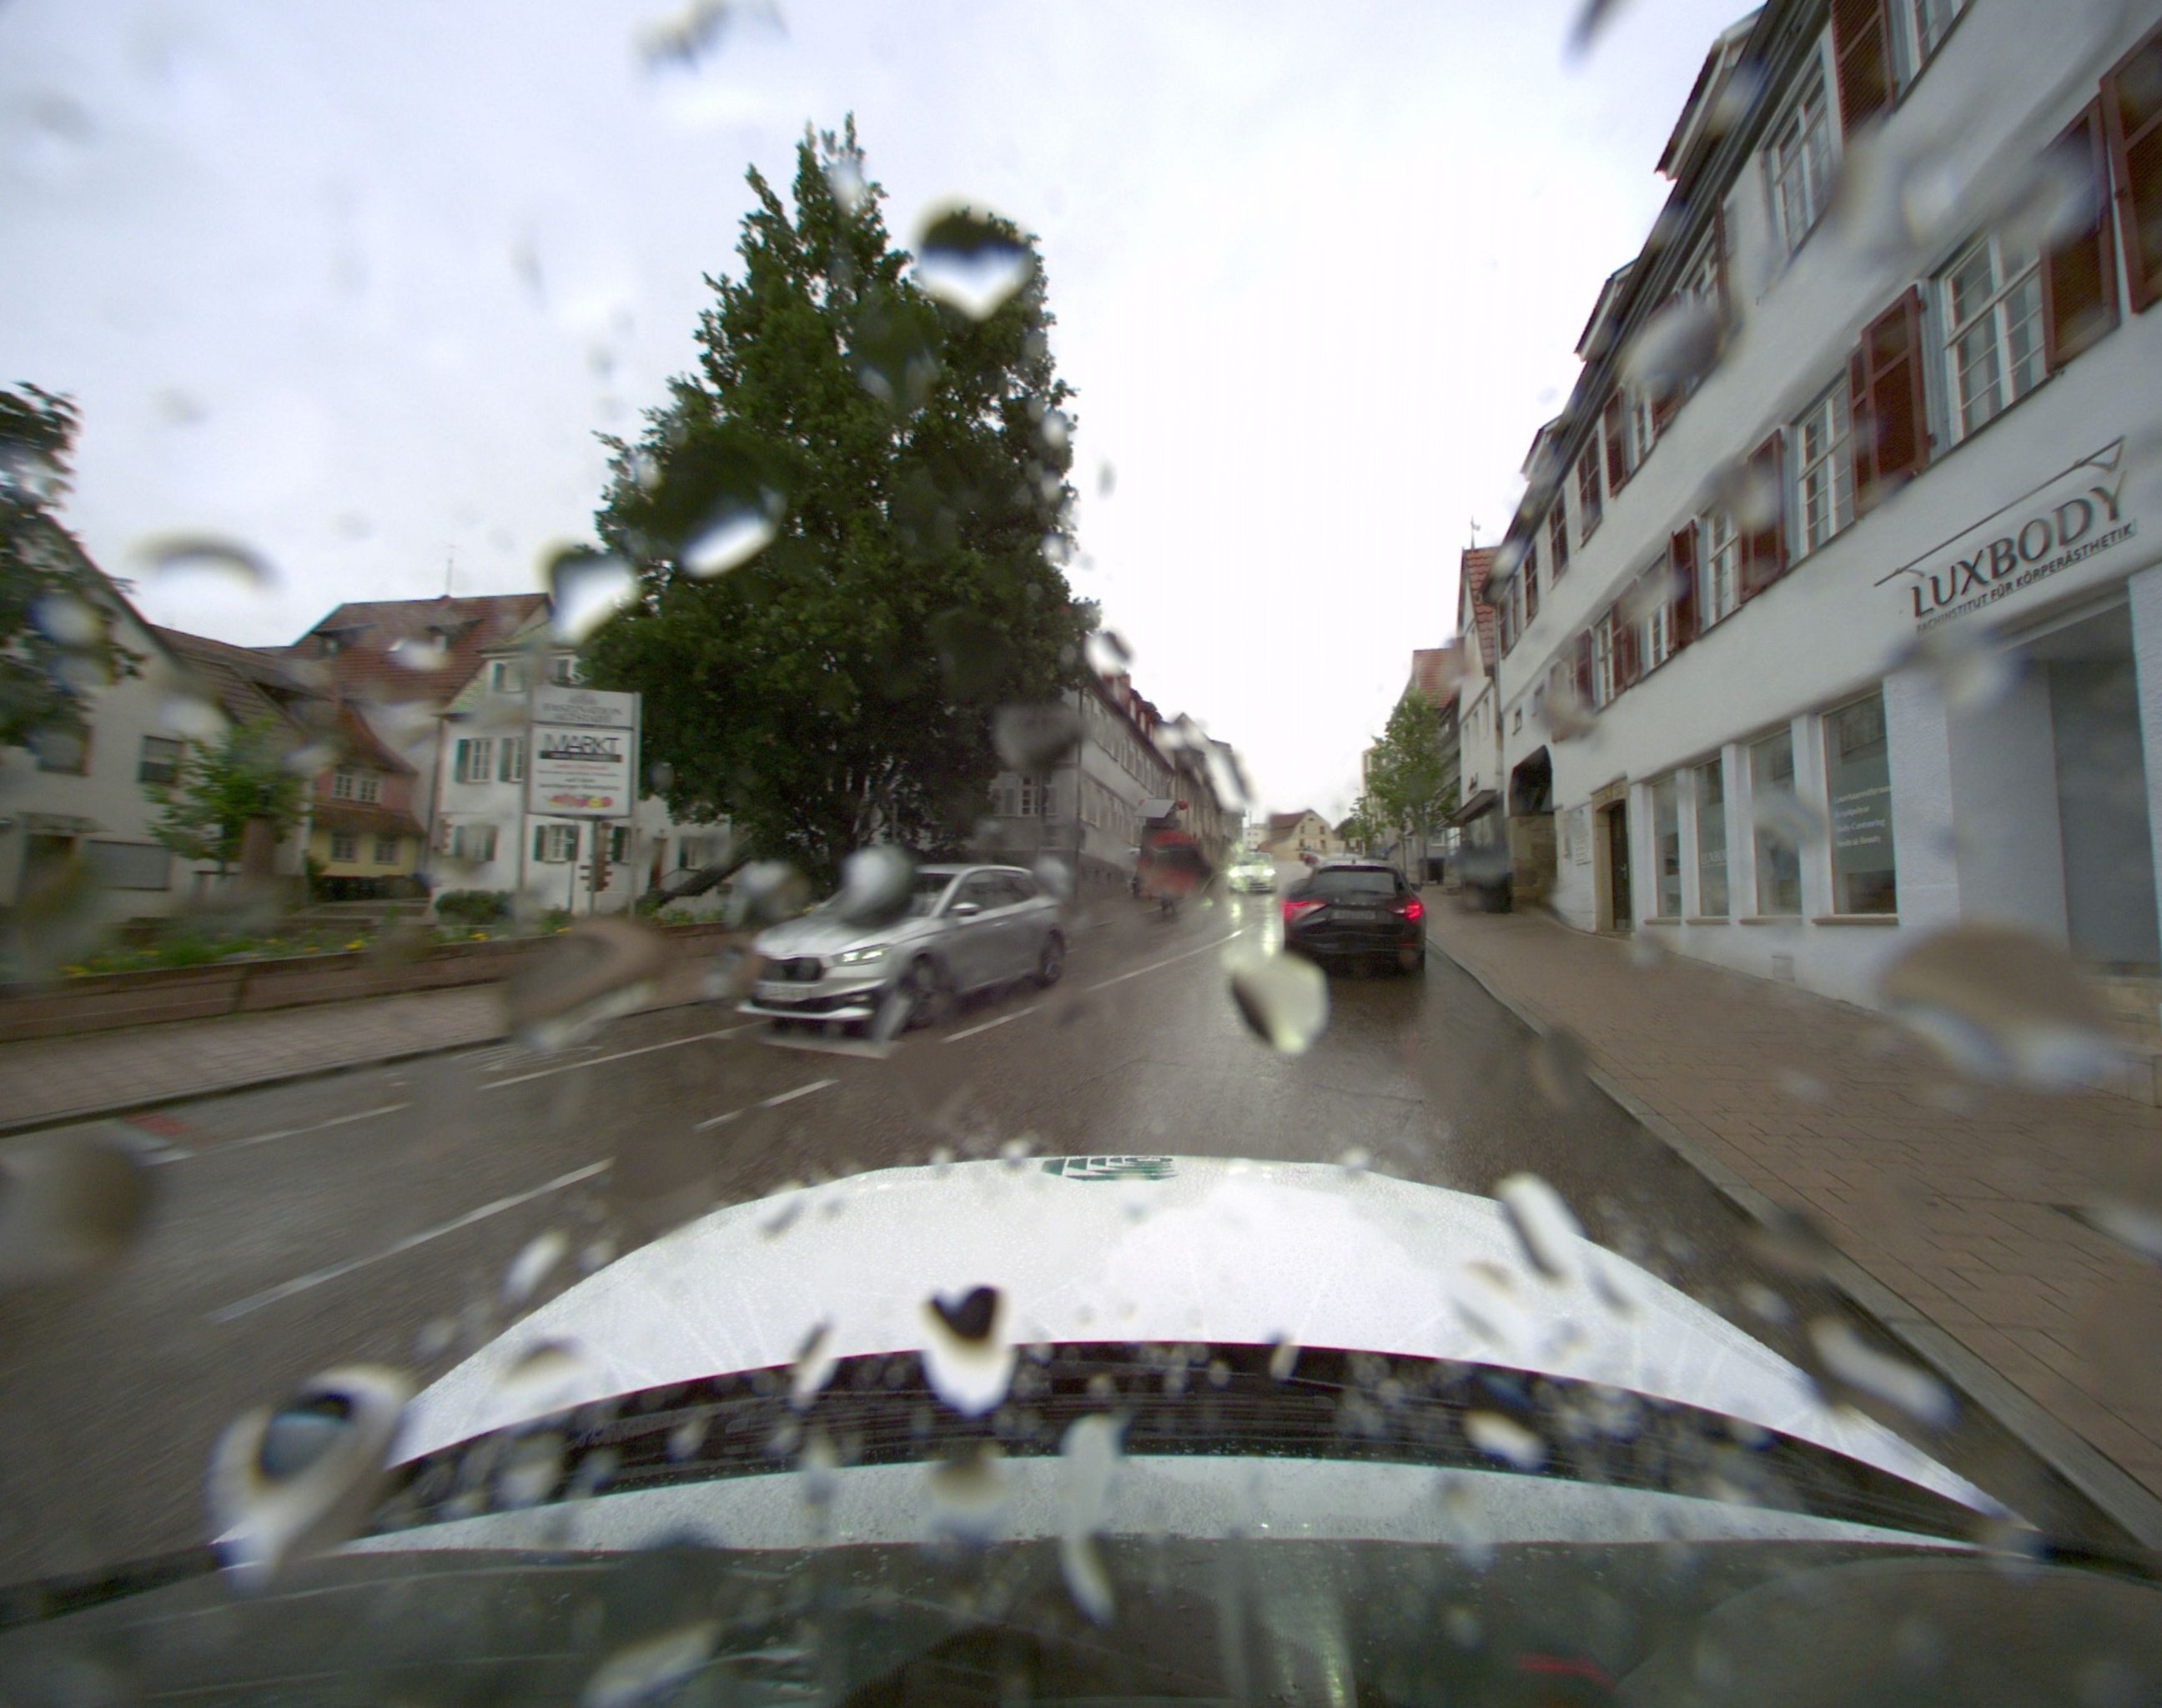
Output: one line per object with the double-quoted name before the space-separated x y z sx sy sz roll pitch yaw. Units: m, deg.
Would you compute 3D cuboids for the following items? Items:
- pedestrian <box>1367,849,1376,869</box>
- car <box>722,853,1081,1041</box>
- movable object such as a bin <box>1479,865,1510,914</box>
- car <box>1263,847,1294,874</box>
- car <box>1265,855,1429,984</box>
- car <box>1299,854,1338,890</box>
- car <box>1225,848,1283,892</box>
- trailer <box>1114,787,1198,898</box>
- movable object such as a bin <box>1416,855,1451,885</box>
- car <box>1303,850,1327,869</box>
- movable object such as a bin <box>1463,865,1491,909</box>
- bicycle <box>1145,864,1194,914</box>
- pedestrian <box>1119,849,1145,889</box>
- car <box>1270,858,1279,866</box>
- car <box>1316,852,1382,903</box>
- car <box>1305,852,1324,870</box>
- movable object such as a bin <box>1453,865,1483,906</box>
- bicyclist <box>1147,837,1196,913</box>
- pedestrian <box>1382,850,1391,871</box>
"pedestrian" 24.494 0.425 68.740 0.699 1.725 0.836 1 0 18
"car" -1.554 0.742 8.510 1.647 1.427 3.893 -1 0 24
"movable object such as a bin" 10.367 0.883 20.414 0.619 1.206 0.608 0 -2 20
"car" 12.031 0.362 49.549 1.760 1.534 3.725 0 1 14
"car" 3.891 0.766 11.852 1.871 1.448 4.378 0 1 19
"car" 11.604 0.934 39.897 1.616 1.531 4.012 0 -5 13
"car" 7.393 0.672 34.523 1.858 1.662 4.328 -3 -1 18
"trailer" 2.712 -0.282 28.309 1.978 3.534 4.594 1 -2 17
"movable object such as a bin" 16.459 0.716 38.085 1.277 1.349 1.493 0 0 15
"car" 19.482 0.443 67.975 1.691 1.552 3.619 1 0 13
"movable object such as a bin" 10.266 0.854 21.126 0.563 1.109 0.679 -1 -5 19
"bicycle" 2.470 0.926 22.398 0.741 1.162 2.169 -1 3 22
"pedestrian" 1.993 0.586 31.901 0.701 1.530 1.050 2 0 18
"car" 35.510 1.463 149.580 1.616 1.530 4.014 1 0 13
"car" 8.578 0.672 26.036 1.841 1.473 4.019 0 1 19
"car" 26.540 0.781 92.549 1.979 2.014 4.016 0 0 16
"movable object such as a bin" 10.449 0.837 22.013 0.654 1.062 0.617 0 0 18
"bicyclist" 2.501 0.596 22.436 1.126 2.014 0.884 -2 -4 21
"pedestrian" 25.885 0.521 69.009 0.699 1.725 0.836 1 0 18
